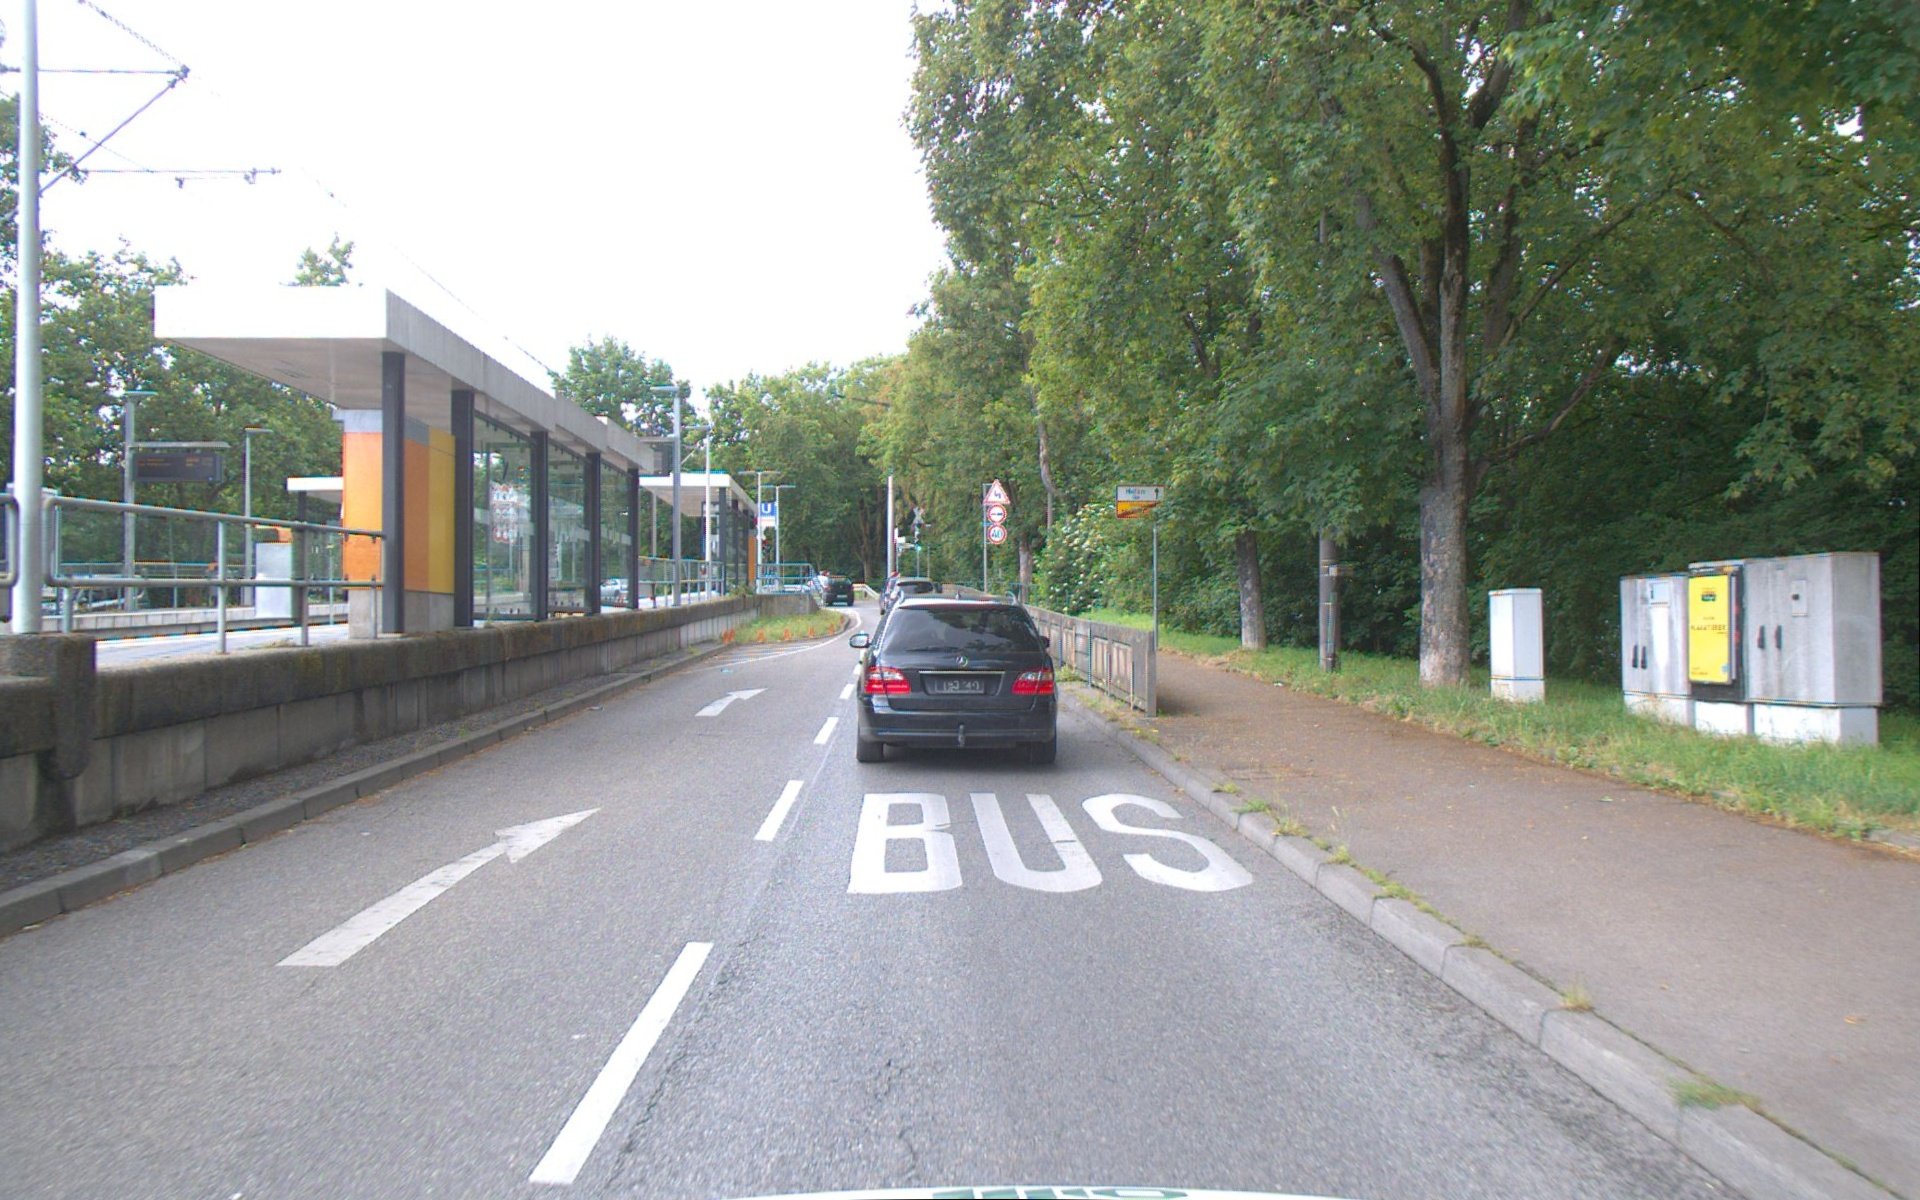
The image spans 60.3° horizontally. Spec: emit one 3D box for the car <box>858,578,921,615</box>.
[{"bbox_3d":[-2.818,-0.163,65.589,1.958,1.423,3.990,0,1,-11],"label":"car"}]

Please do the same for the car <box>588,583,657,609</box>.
[{"bbox_3d":[-19.517,-0.244,95.666,3.927,1.423,1.989,1,1,41],"label":"car"}]

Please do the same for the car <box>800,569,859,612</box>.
[{"bbox_3d":[-6.266,-0.433,79.106,1.962,1.952,3.980,2,-1,-17],"label":"car"}]

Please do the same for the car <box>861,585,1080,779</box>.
[{"bbox_3d":[-0.028,0.651,15.452,1.746,1.552,3.997,1,1,-4],"label":"car"}]

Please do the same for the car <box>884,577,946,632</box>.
[{"bbox_3d":[-1.525,0.145,54.465,1.747,1.677,3.995,-2,0,-5],"label":"car"}]
